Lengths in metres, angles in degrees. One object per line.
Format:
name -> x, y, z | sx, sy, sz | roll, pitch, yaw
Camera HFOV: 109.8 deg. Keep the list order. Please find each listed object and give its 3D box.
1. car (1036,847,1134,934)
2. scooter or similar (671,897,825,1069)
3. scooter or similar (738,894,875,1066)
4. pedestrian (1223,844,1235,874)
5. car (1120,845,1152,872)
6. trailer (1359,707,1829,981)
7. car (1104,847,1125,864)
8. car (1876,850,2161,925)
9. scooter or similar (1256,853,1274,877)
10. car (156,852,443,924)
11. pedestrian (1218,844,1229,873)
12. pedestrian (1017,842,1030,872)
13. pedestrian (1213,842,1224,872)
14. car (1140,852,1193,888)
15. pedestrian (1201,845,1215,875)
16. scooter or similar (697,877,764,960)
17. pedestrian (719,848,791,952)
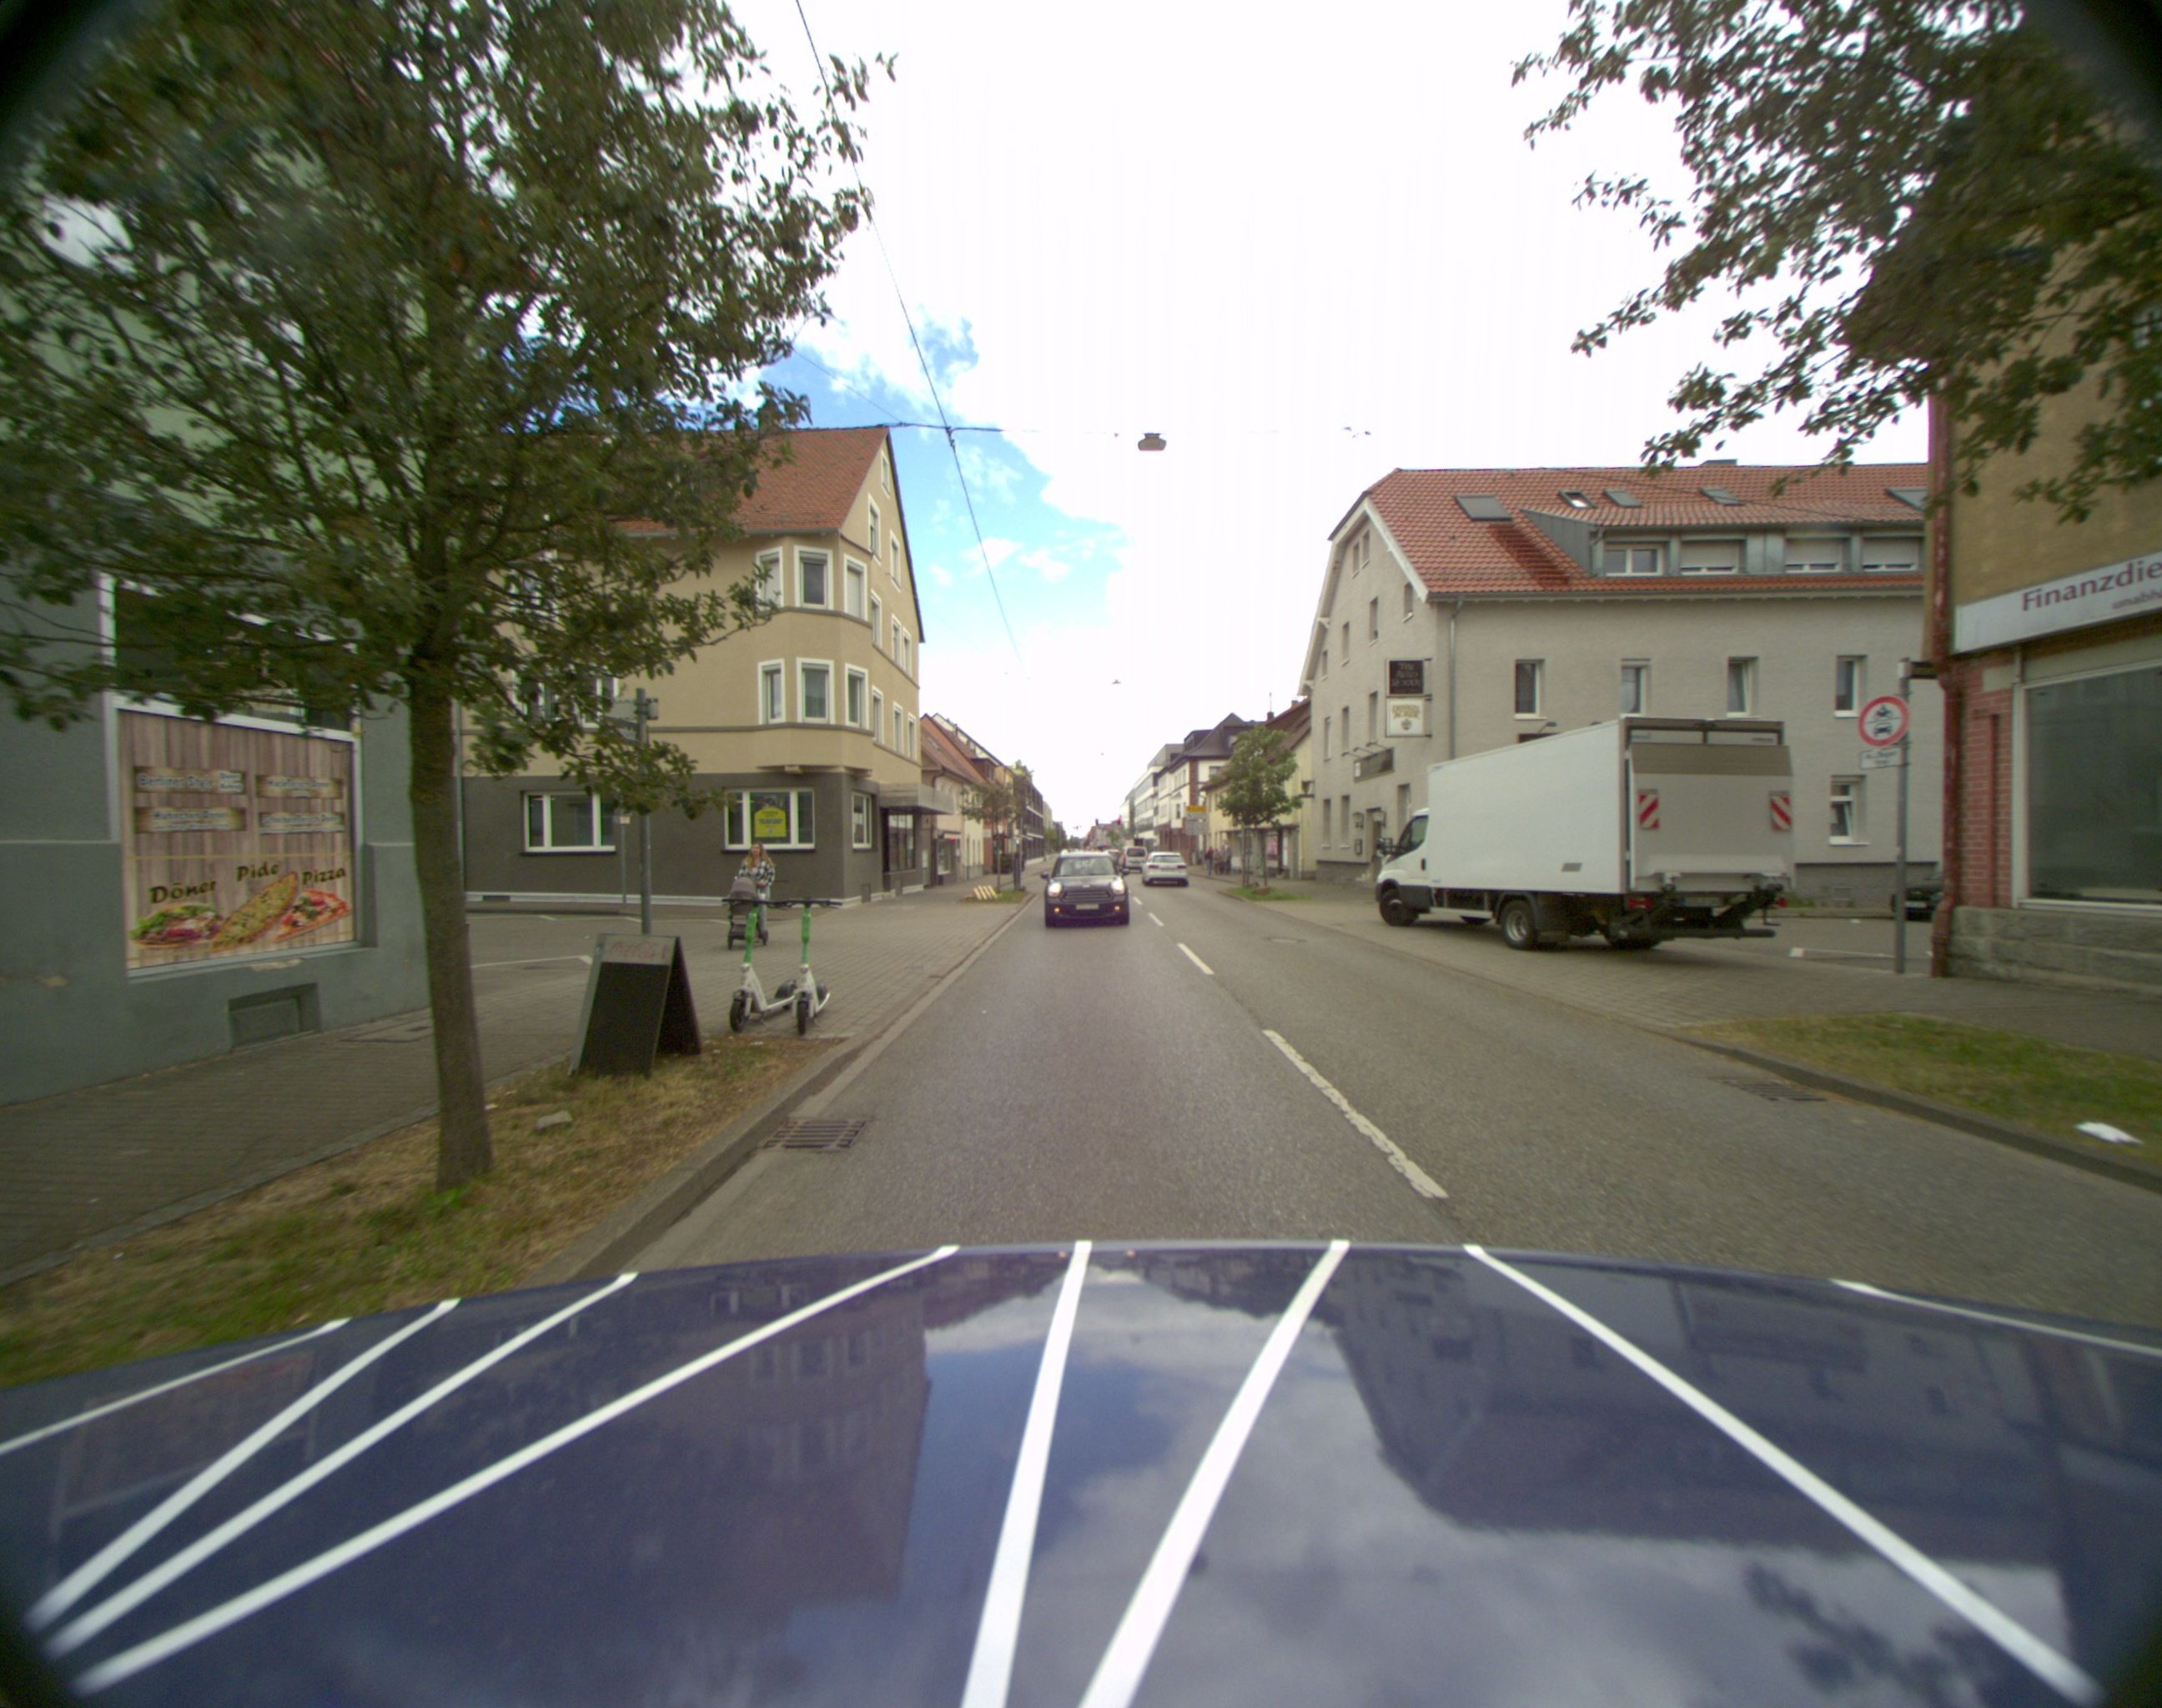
car -> 0.108, 0.708, 17.177 | 1.847, 1.571, 4.428 | -3, 1, 1
scooter or similar -> -2.982, 1.084, 7.028 | 0.503, 1.228, 1.942 | -2, 1, 0
scooter or similar -> -2.447, 1.058, 7.028 | 0.503, 1.228, 1.942 | -2, 1, 0
pedestrian -> 8.621, 0.284, 44.297 | 0.555, 1.727, 0.648 | -1, 1, 1
car -> 3.806, 0.292, 53.282 | 1.998, 1.786, 4.276 | 0, 1, 1
trailer -> 7.395, -0.097, 12.537 | 2.510, 3.200, 7.132 | 0, 0, -4
car -> 3.039, 0.113, 69.829 | 1.784, 1.543, 4.074 | 1, 1, 0
car -> 20.647, 0.736, 16.858 | 3.996, 1.472, 1.781 | -2, -1, 3
scooter or similar -> 9.433, 0.561, 38.967 | 0.529, 1.163, 1.721 | -2, 1, 1
car -> -17.355, 0.729, 17.052 | 4.435, 1.463, 1.908 | 1, 0, 0
pedestrian -> 8.583, 0.264, 45.682 | 0.555, 1.727, 0.648 | -1, 1, 1
pedestrian -> -4.005, 0.222, 52.971 | 0.826, 2.063, 1.010 | 2, 2, -3
pedestrian -> 8.019, 0.163, 44.284 | 0.497, 1.727, 0.648 | -1, 1, 1
car -> 3.701, 0.636, 33.582 | 1.847, 1.425, 4.542 | 0, 1, 1
pedestrian -> 7.537, 0.358, 45.062 | 0.679, 1.727, 0.717 | -1, 1, 1
scooter or similar -> -5.593, 1.017, 12.171 | 0.591, 1.226, 0.891 | -2, 1, 0
pedestrian -> -5.593, 0.764, 13.085 | 0.752, 1.710, 0.900 | -2, 1, 1
